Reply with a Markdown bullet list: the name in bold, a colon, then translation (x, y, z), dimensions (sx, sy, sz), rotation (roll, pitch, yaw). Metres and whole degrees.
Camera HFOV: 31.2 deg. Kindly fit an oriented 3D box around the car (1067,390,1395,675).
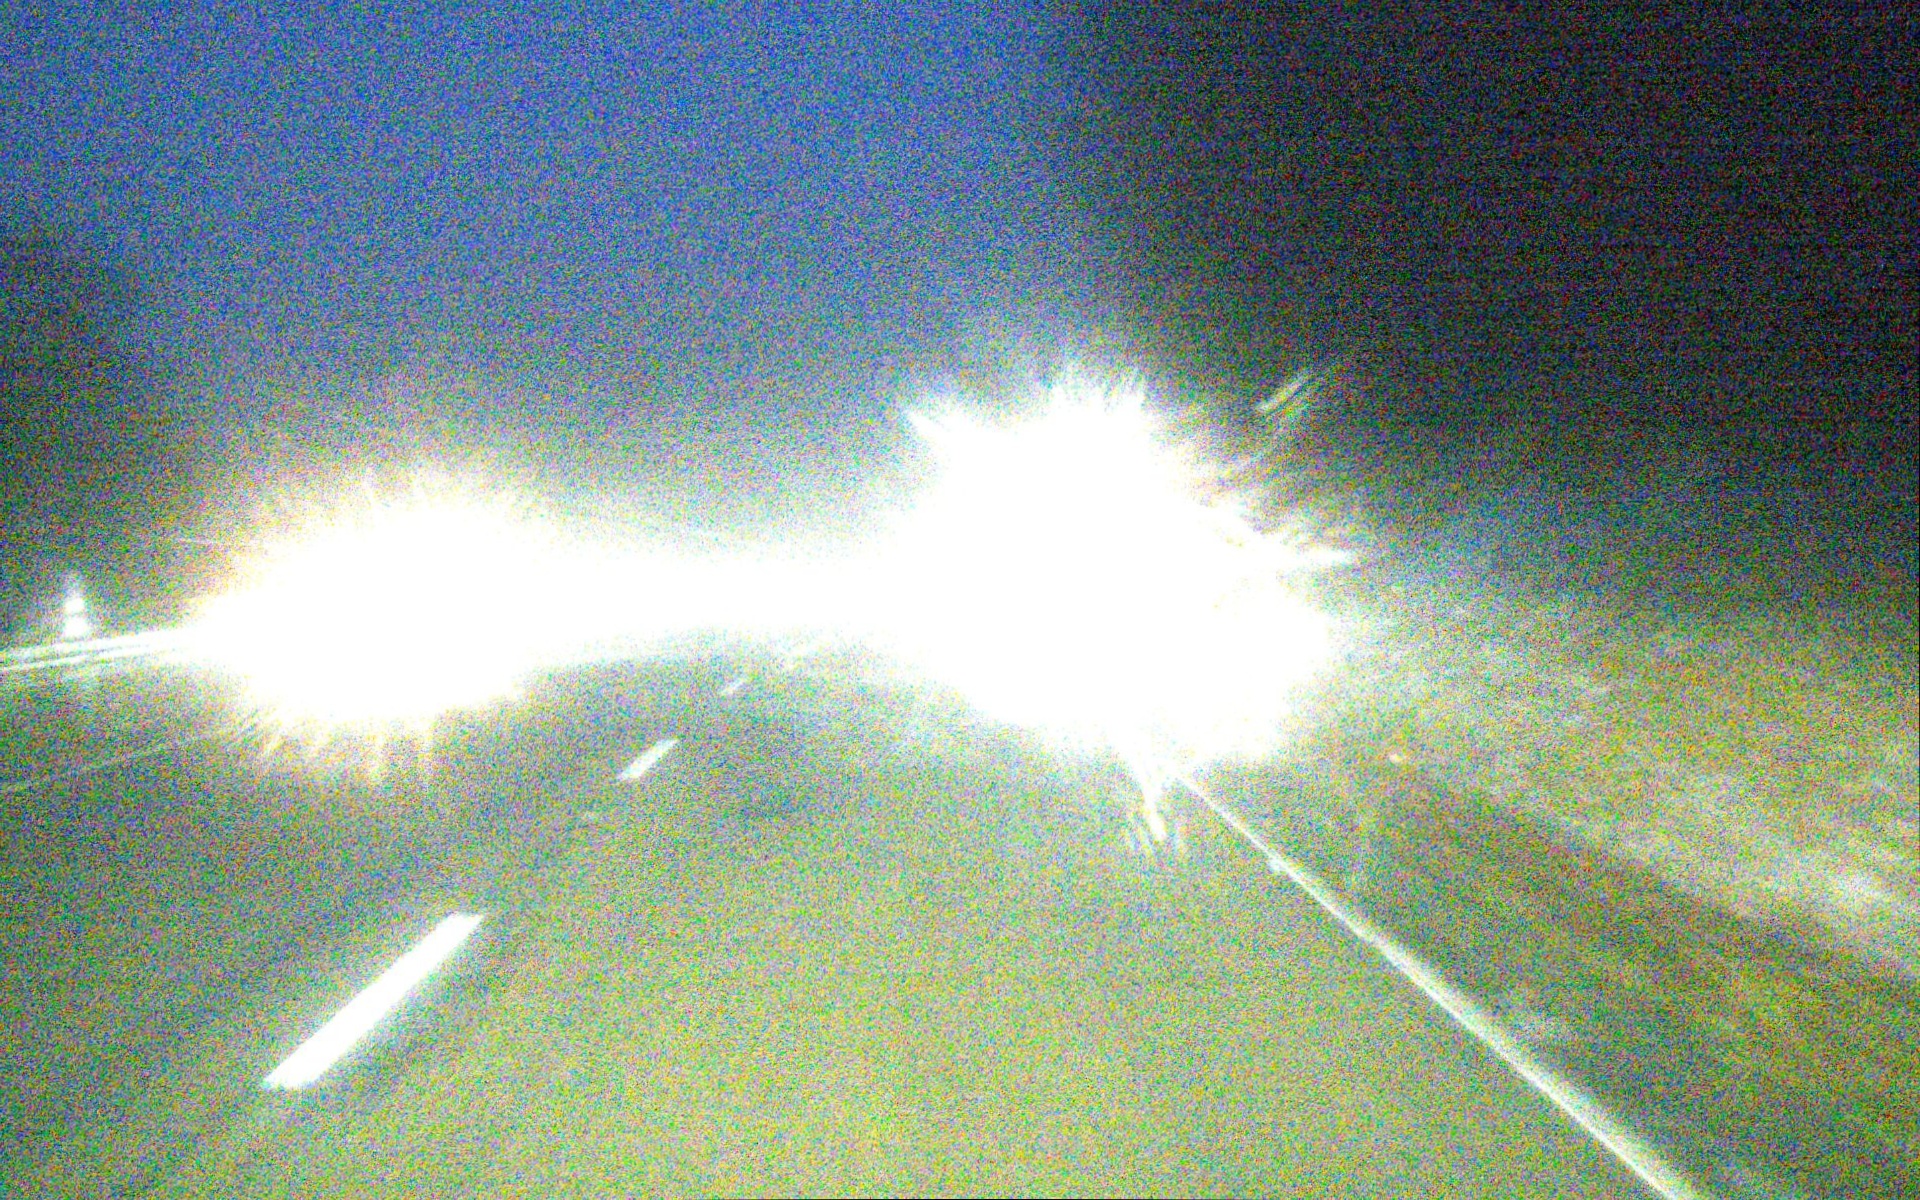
- **car**: translation (2.021, -0.445, 26.898), dimensions (2.197, 2.007, 4.207), rotation (1, -1, 0)
